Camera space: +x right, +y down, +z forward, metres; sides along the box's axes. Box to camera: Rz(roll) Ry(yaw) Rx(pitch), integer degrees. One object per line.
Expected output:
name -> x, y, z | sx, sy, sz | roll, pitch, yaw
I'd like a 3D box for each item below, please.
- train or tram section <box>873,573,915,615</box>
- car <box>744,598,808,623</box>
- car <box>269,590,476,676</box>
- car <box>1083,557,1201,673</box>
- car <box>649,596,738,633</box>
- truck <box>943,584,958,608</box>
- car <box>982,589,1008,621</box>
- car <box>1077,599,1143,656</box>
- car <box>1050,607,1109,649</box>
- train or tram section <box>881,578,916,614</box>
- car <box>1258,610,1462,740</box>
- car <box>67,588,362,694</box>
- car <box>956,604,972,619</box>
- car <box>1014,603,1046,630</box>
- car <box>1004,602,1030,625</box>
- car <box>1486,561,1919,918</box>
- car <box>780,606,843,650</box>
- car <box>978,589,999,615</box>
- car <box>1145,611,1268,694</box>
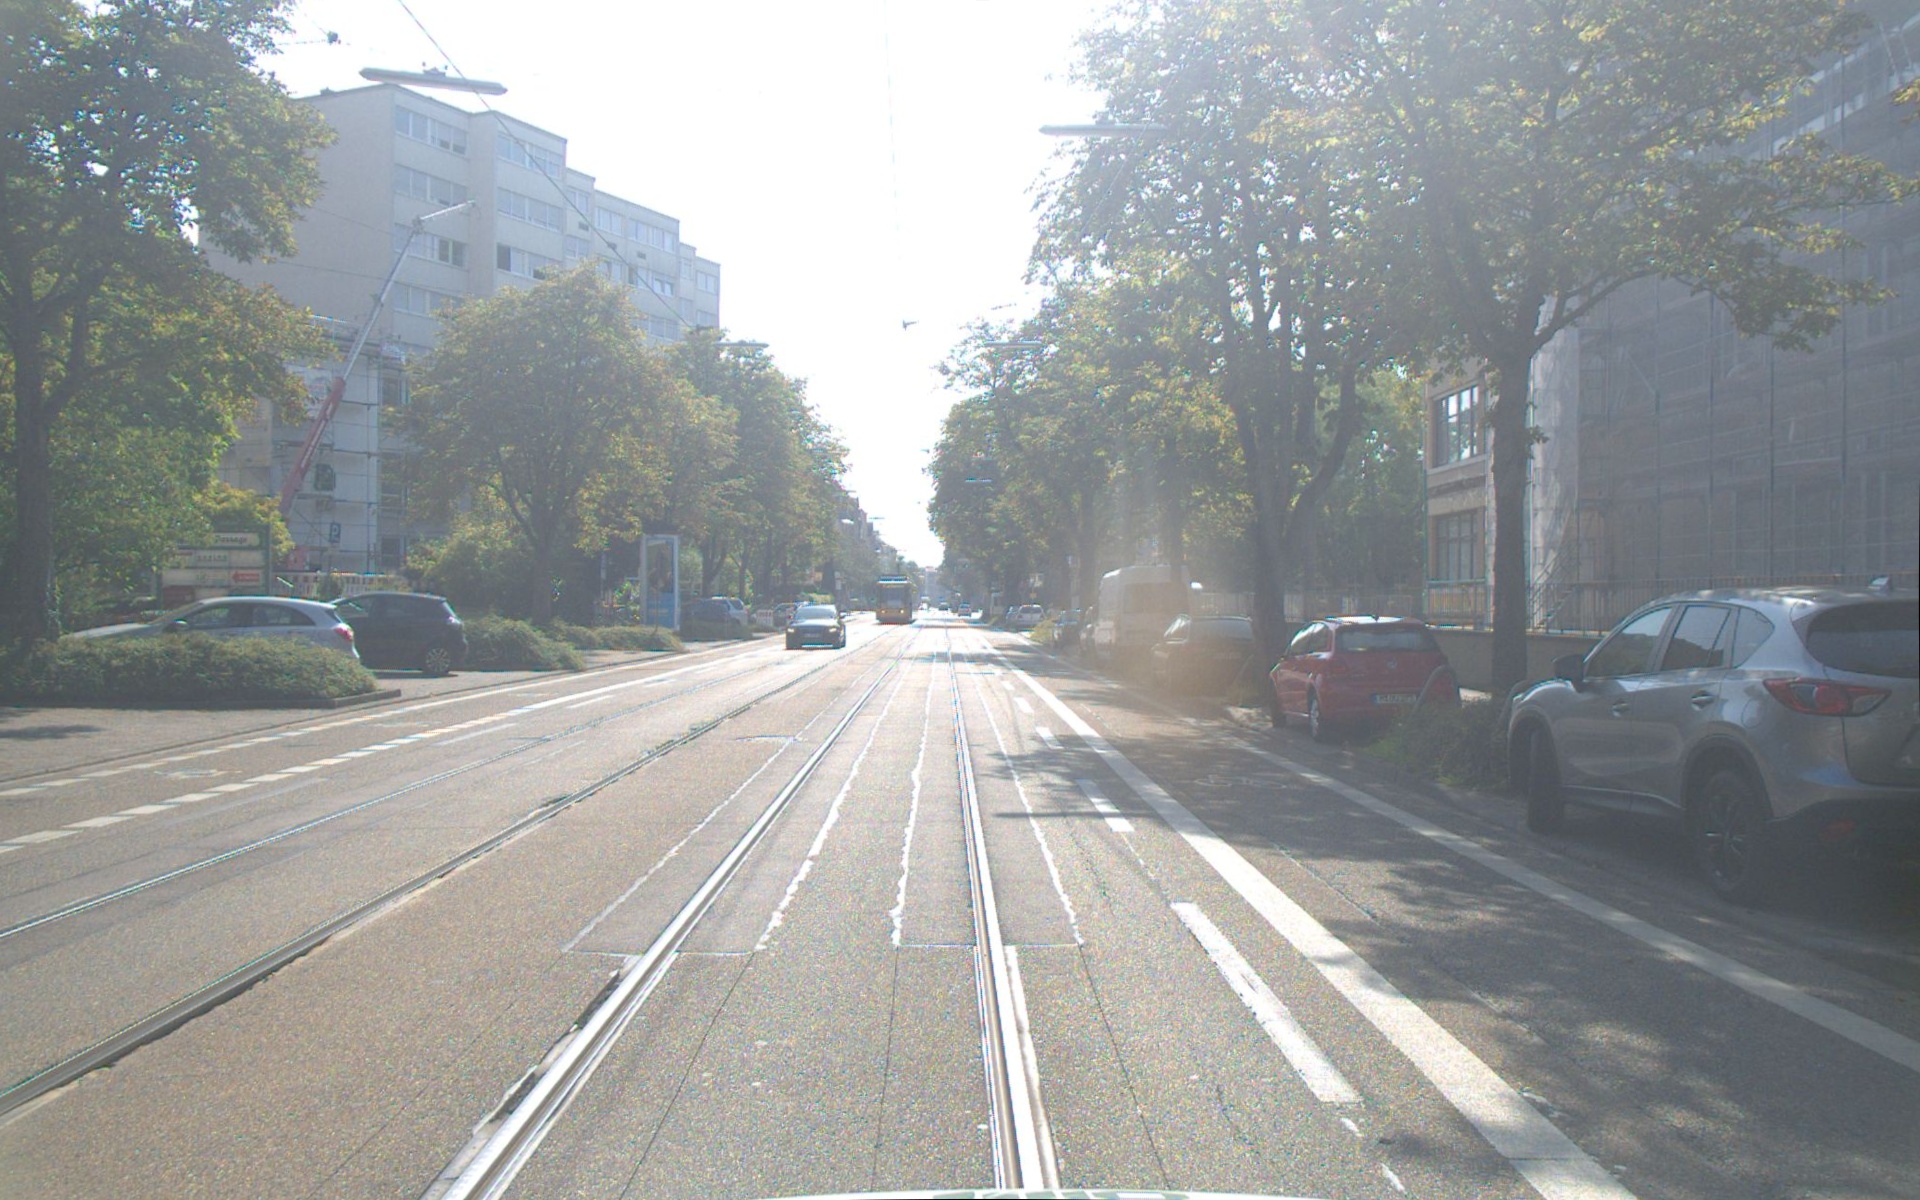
train or tram section -> -4.843, -0.359, 124.055 | 2.673, 2.945, 15.452 | 0, 0, -1
car -> -10.807, 0.616, 97.210 | 1.541, 1.468, 3.745 | 0, 0, 39
car -> -11.314, 0.637, 31.851 | 3.589, 1.542, 1.608 | 2, 0, -26
car -> 4.443, 0.347, 41.300 | 2.041, 2.597, 5.499 | -3, 0, -2
car -> -12.130, 0.671, 75.430 | 1.715, 1.650, 3.769 | 0, 0, 44
truck -> -1.297, -0.544, 224.221 | 1.823, 3.185, 4.350 | 0, 0, -3
car -> 2.874, 0.440, 135.580 | 1.963, 2.534, 4.476 | 2, -1, 0
car -> 4.564, 0.805, 50.733 | 1.630, 1.645, 3.877 | -1, 0, 0
car -> 4.323, 0.997, 60.381 | 1.718, 1.402, 4.718 | -1, 0, 0
train or tram section -> -4.964, -0.295, 135.088 | 2.673, 2.899, 6.542 | 0, 0, -1
car -> 4.906, 0.865, 20.795 | 1.583, 1.438, 4.000 | 0, 0, 0
car -> -11.342, 0.612, 25.213 | 3.945, 1.505, 1.771 | 1, 0, -31
car -> 0.505, 1.377, 202.044 | 1.952, 1.870, 4.000 | 0, 0, 0
car -> 3.971, 0.925, 93.814 | 1.655, 1.443, 3.634 | 0, 0, 0
car -> 3.681, 0.867, 107.464 | 1.562, 1.443, 3.634 | 0, 0, 0
car -> 4.886, 0.683, 10.216 | 1.718, 1.721, 4.394 | 1, 0, -3
car -> -4.916, 0.907, 55.314 | 1.791, 1.400, 4.511 | 0, 0, -1
car -> 2.756, 0.180, 162.612 | 1.963, 2.518, 4.477 | 0, 0, 0
car -> 4.535, 0.929, 31.057 | 1.583, 1.398, 4.827 | 0, 0, 0
